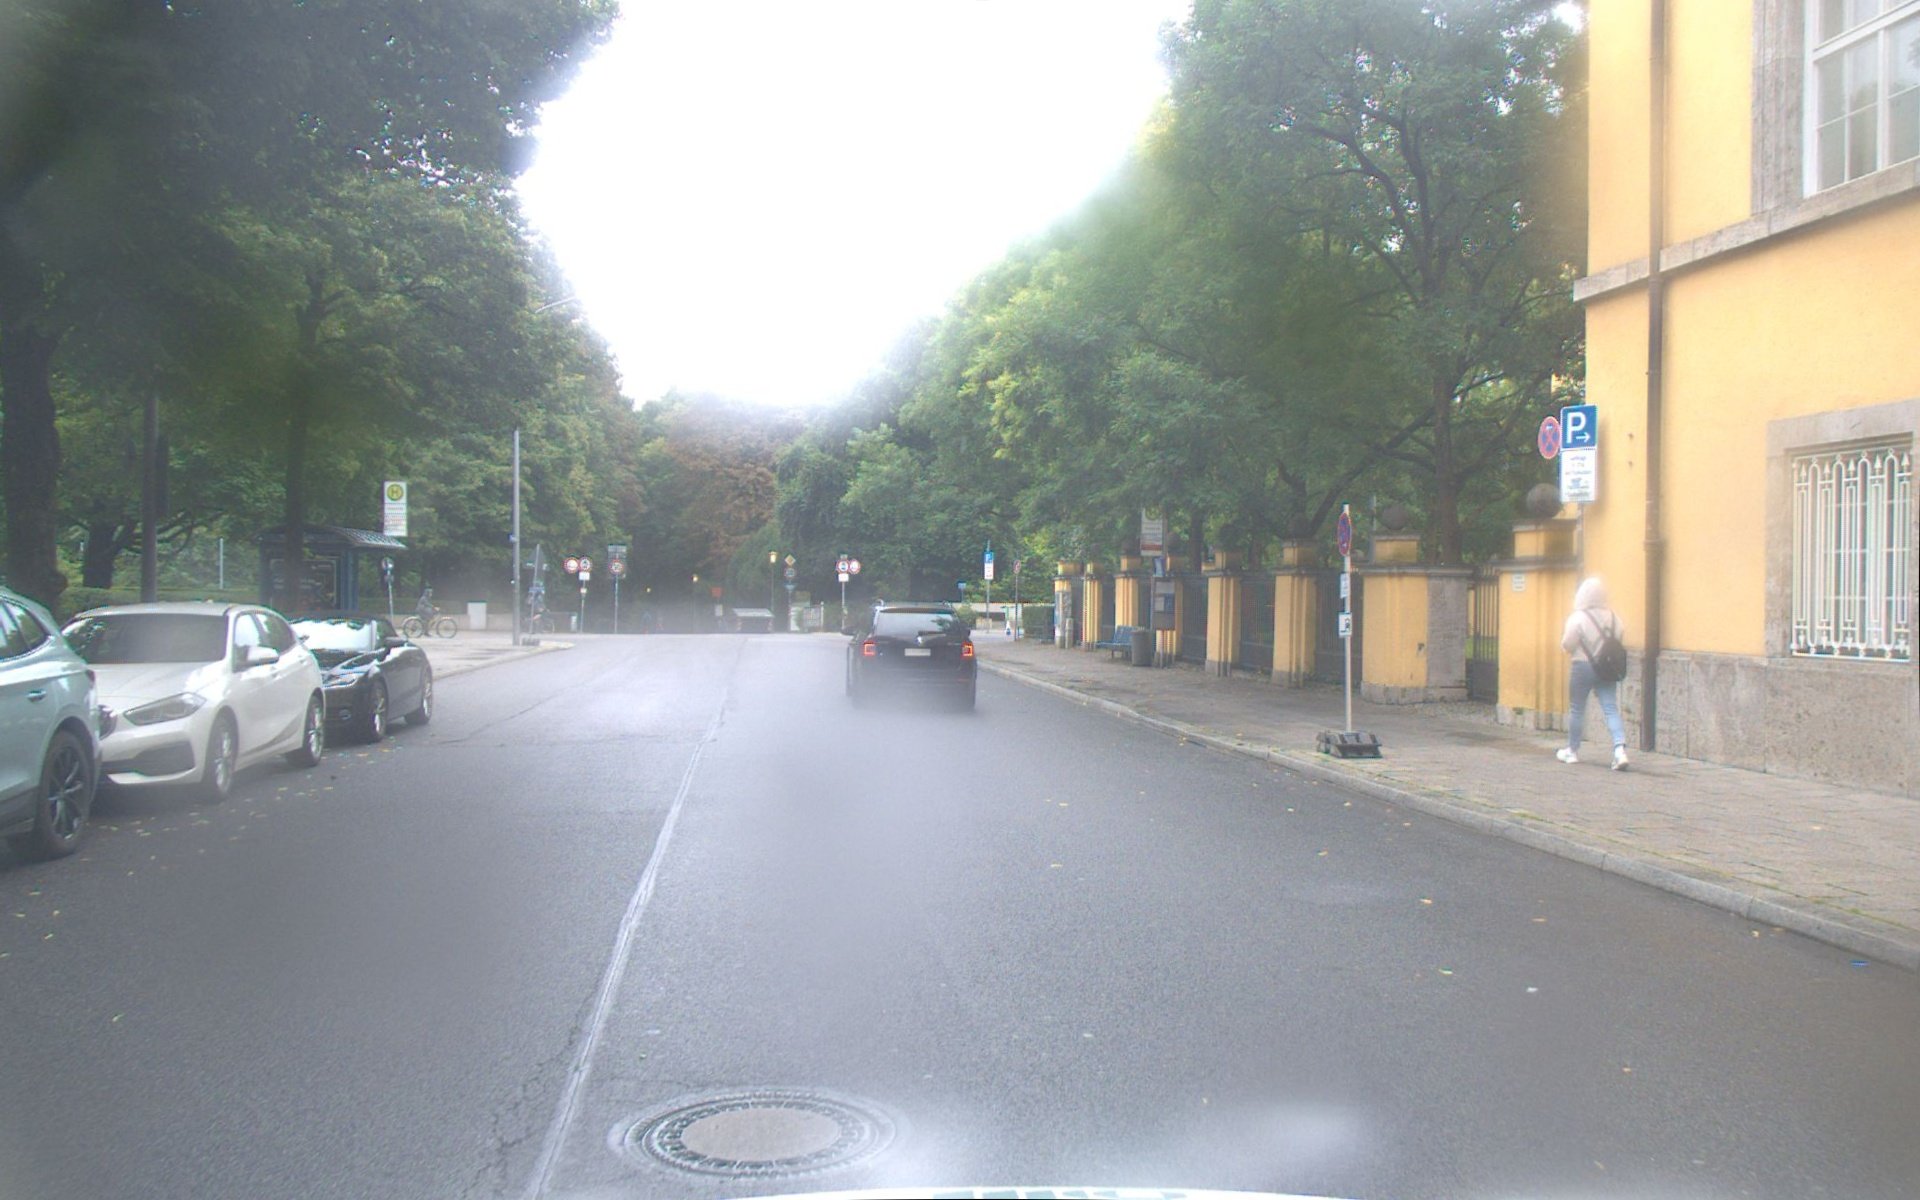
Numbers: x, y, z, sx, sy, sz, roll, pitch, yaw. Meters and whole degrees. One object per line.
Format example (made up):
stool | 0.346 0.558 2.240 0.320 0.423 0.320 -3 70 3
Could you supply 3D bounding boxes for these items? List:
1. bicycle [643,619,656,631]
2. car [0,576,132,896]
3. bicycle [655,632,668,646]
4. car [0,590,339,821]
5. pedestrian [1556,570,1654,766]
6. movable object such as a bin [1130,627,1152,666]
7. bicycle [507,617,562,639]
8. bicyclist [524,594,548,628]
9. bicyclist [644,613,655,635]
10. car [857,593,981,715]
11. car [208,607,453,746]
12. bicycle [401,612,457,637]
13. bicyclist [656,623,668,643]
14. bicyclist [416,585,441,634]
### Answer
bicycle | -21.252 1.693 113.291 0.669 0.844 2.100 0 -1 -17
car | -5.702 0.687 7.883 1.781 1.629 4.505 0 0 -8
bicycle | -18.117 2.356 100.544 0.667 0.844 2.106 0 -1 -8
car | -6.201 0.699 13.040 1.548 1.523 4.191 0 0 -8
pedestrian | 5.628 0.579 14.444 0.549 1.666 0.570 -1 0 -8
movable object such as a bin | 3.794 0.976 34.693 0.389 0.794 0.464 0 0 -5
bicycle | -16.243 1.059 63.188 0.667 0.844 2.103 0 -1 34
bicyclist | -16.201 0.413 63.250 0.669 1.305 0.597 0 0 34
bicyclist | -21.283 1.650 113.391 0.670 1.530 0.897 0 0 -17
car | -0.669 0.718 23.869 1.546 1.611 4.040 0 0 -5
car | -6.895 0.774 18.522 1.547 1.366 4.039 0 0 -6
bicycle | -17.742 0.834 55.280 1.733 0.810 0.568 1 -1 -15
bicyclist | -18.118 1.978 100.548 0.668 1.208 0.480 0 0 -7
bicyclist | -17.766 0.315 55.292 0.738 1.613 0.653 0 -1 -14
